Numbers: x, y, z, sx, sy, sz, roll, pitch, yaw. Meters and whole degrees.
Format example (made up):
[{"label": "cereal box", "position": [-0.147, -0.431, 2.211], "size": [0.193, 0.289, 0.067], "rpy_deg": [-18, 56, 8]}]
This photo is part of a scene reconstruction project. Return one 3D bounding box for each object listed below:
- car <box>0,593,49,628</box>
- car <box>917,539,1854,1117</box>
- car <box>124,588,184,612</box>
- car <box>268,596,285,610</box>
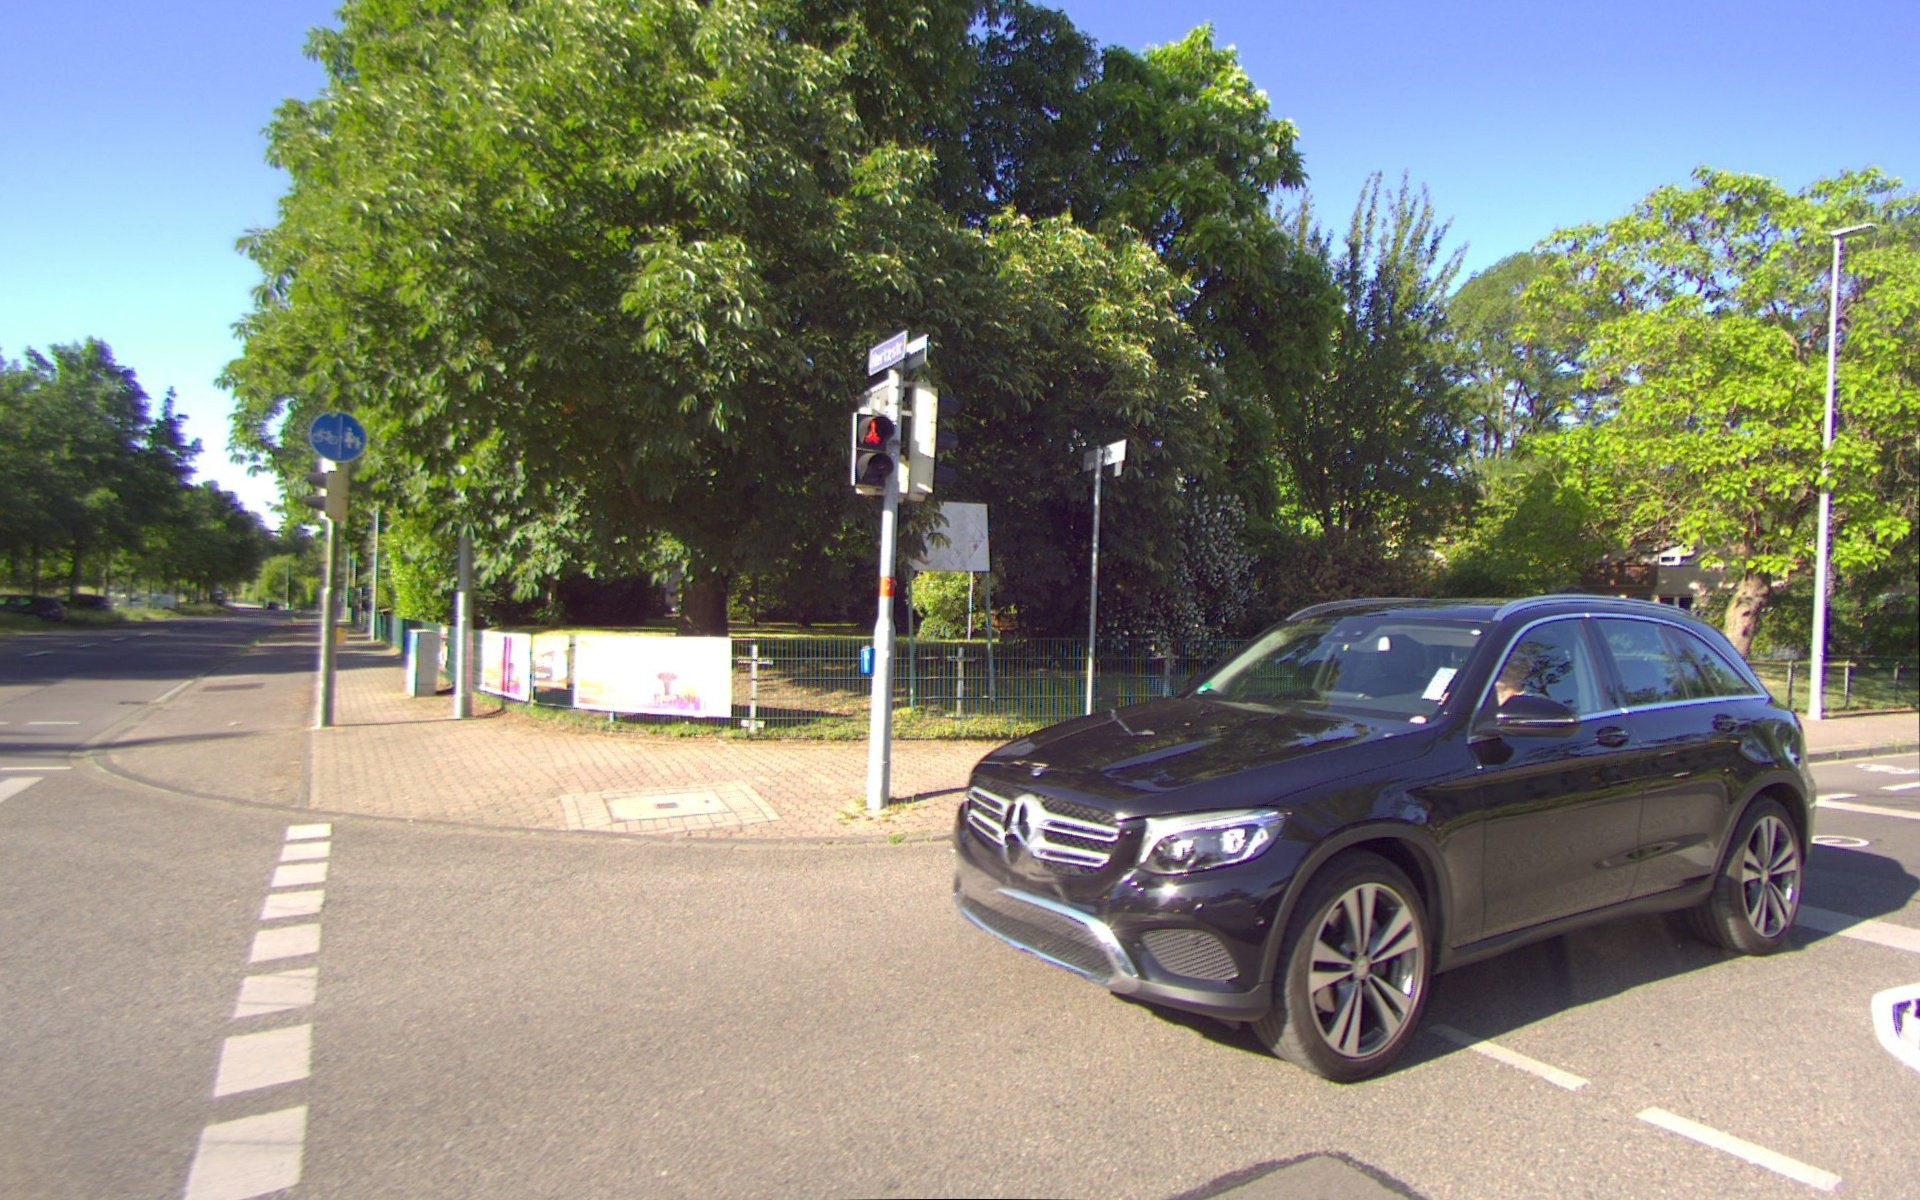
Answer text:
[{"label": "car", "position": [-42.574, 0.428, 43.767], "size": [3.955, 1.441, 1.628], "rpy_deg": [2, 1, -32]}, {"label": "car", "position": [2.143, 0.748, 4.732], "size": [4.339, 1.639, 1.807], "rpy_deg": [3, -2, -29]}, {"label": "car", "position": [-72.247, -0.021, 90.054], "size": [3.958, 1.951, 1.981], "rpy_deg": [2, 1, -34]}, {"label": "car", "position": [-111.228, 0.527, 163.427], "size": [1.982, 2.040, 3.956], "rpy_deg": [2, 1, -38]}]
